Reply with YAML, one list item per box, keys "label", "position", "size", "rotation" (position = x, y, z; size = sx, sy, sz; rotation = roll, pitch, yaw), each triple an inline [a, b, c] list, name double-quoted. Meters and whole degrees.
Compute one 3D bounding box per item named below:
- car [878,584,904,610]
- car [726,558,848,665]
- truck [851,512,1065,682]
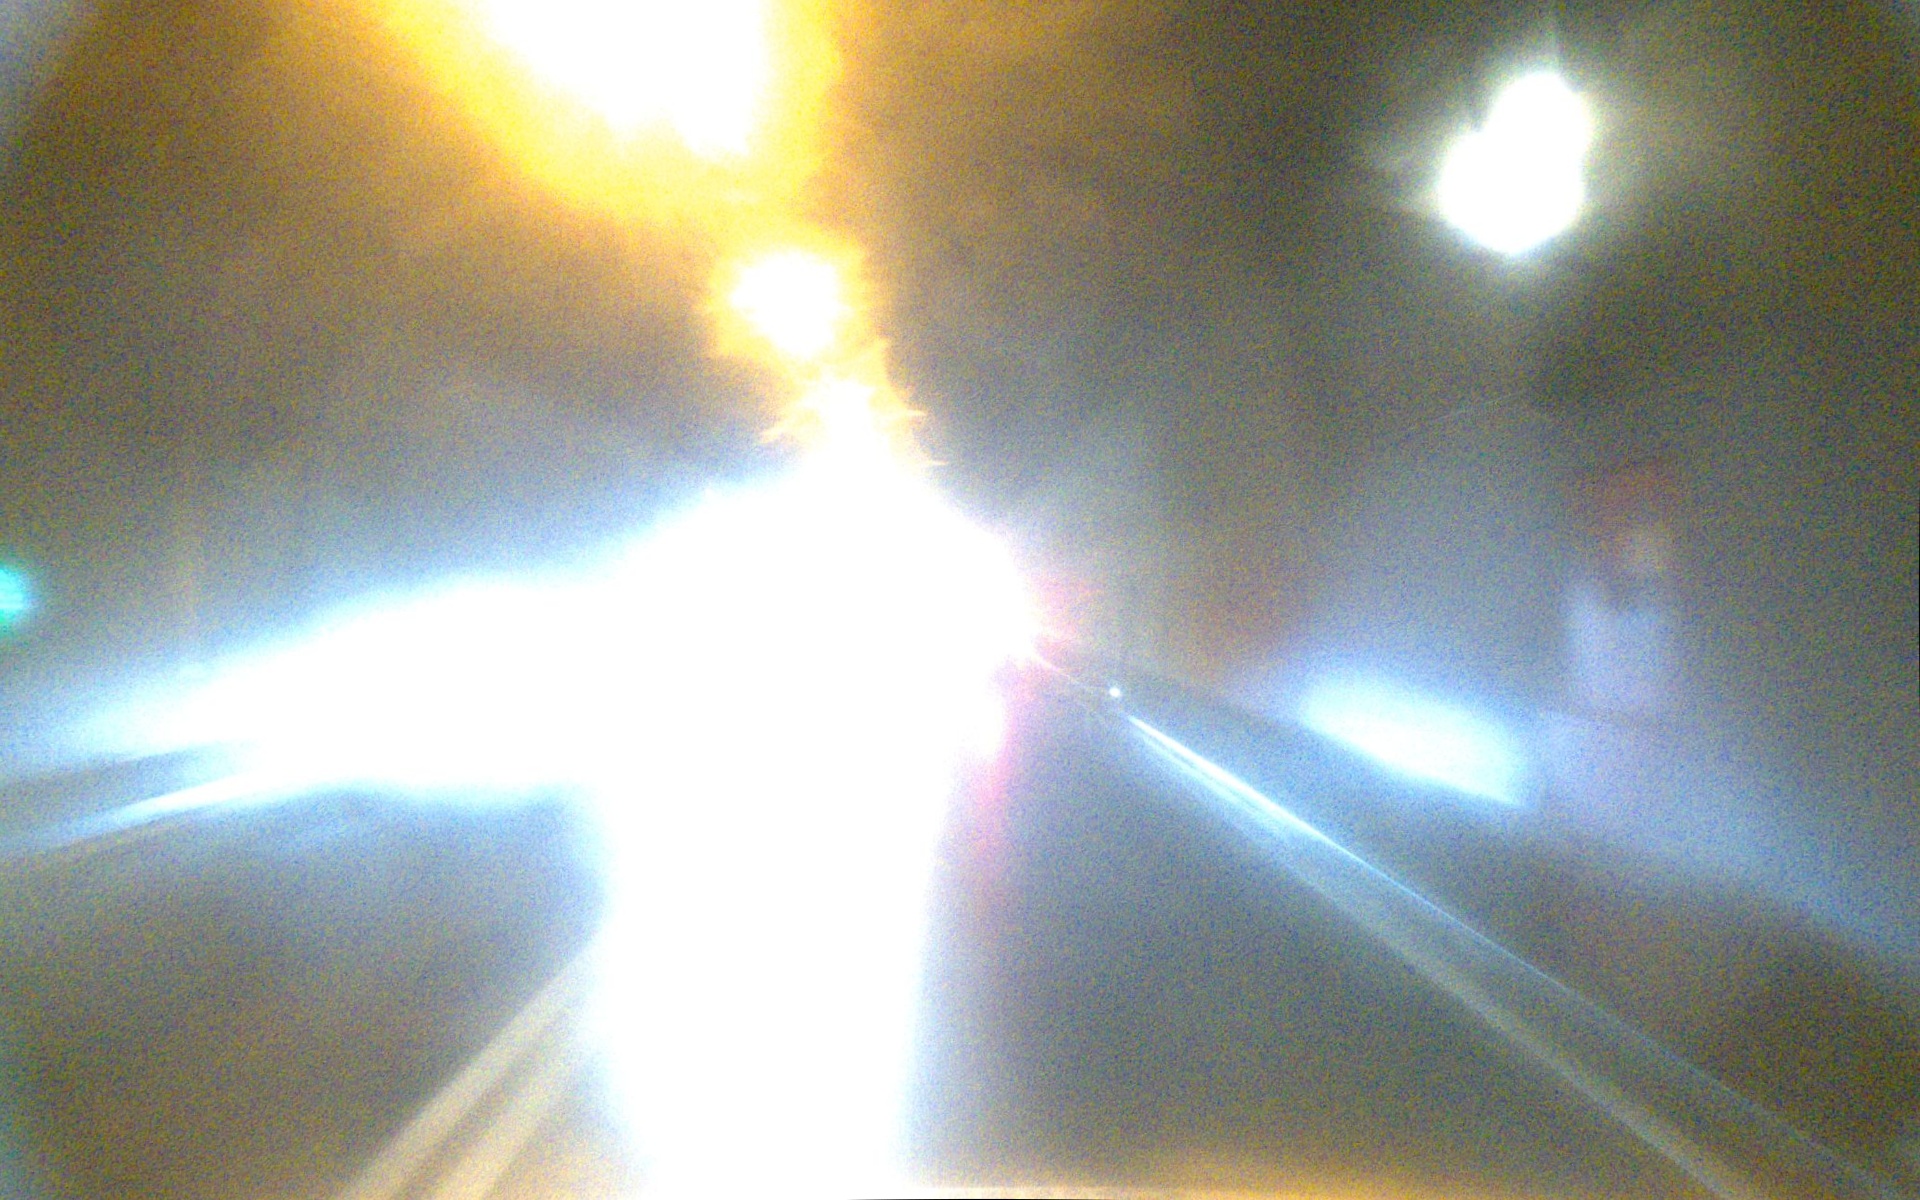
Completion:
- label: "car"
  position: [-4.484, -0.200, 107.742]
  size: [1.566, 1.641, 3.995]
  rotation: [0, 0, -1]
- label: "car"
  position: [-3.504, 0.221, 34.315]
  size: [2.042, 2.049, 4.559]
  rotation: [1, 0, 0]
- label: "truck"
  position: [-0.095, -0.054, 31.372]
  size: [3.463, 2.740, 8.954]
  rotation: [0, 0, -1]
